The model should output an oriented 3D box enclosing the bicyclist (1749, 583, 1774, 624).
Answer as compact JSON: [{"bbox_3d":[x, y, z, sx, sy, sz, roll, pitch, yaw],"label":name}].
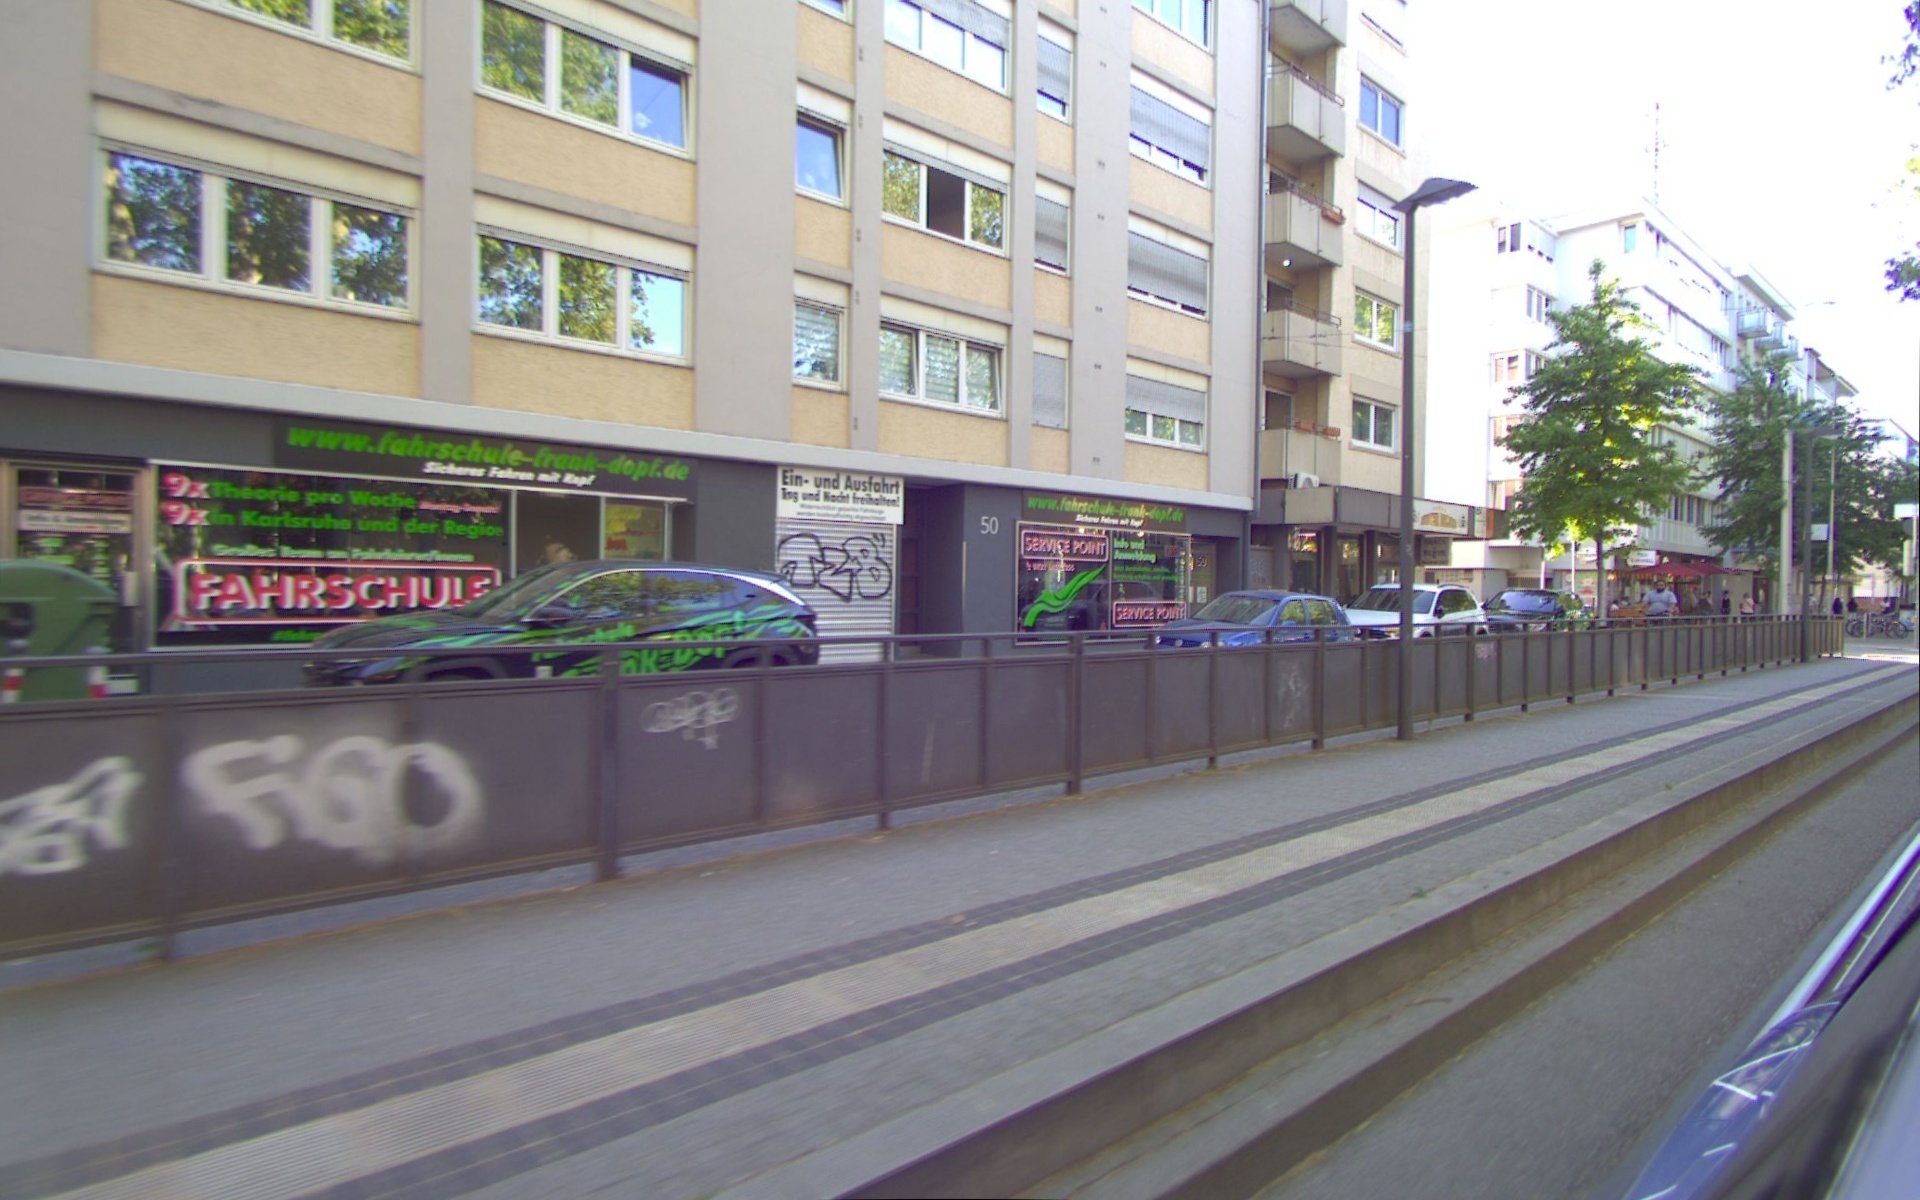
[{"bbox_3d":[34.568,0.139,43.647,0.948,1.739,0.678,0,0,-39],"label":"bicyclist"}]

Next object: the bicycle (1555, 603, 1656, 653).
[{"bbox_3d":[16.710,0.702,26.261,0.668,1.202,2.134,0,1,-32],"label":"bicycle"}]

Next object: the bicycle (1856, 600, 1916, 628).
[{"bbox_3d":[37.726,0.564,41.256,1.814,1.114,0.474,0,1,42],"label":"bicycle"}]

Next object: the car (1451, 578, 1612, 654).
[{"bbox_3d":[13.617,0.303,24.006,4.367,1.636,1.997,-1,1,-41],"label":"car"}]

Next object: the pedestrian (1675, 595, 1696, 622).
[{"bbox_3d":[31.644,0.361,44.153,0.513,1.190,0.659,0,0,-42],"label":"pedestrian"}]

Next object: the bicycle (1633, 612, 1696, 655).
[{"bbox_3d":[16.787,0.778,24.096,1.905,0.949,0.790,-1,1,-41],"label":"bicycle"}]

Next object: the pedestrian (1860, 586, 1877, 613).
[{"bbox_3d":[57.010,-0.028,63.523,0.855,1.657,0.643,0,3,-43],"label":"pedestrian"}]

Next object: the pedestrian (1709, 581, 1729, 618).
[{"bbox_3d":[37.985,-0.040,50.641,0.620,1.828,0.526,0,0,2],"label":"pedestrian"}]

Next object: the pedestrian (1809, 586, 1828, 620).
[{"bbox_3d":[46.568,0.143,54.902,0.587,1.806,0.985,0,0,29],"label":"pedestrian"}]

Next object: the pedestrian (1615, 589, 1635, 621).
[{"bbox_3d":[27.960,0.207,42.564,0.703,1.303,0.536,0,0,-40],"label":"pedestrian"}]

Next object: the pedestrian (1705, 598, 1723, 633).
[{"bbox_3d":[36.528,0.755,49.027,0.500,1.649,0.516,0,0,12],"label":"pedestrian"}]

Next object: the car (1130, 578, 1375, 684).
[{"bbox_3d":[4.714,0.395,16.017,4.173,1.458,1.747,-1,1,-41],"label":"car"}]

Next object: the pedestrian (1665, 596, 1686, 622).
[{"bbox_3d":[30.199,0.373,42.731,0.513,1.092,0.642,0,0,-42],"label":"pedestrian"}]

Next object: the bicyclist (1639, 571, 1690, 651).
[{"bbox_3d":[16.772,0.240,24.084,1.080,1.854,0.768,0,0,-41],"label":"bicyclist"}]

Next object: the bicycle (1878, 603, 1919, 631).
[{"bbox_3d":[38.864,0.695,41.465,0.516,1.114,1.818,0,2,-41],"label":"bicycle"}]

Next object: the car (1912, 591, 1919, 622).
[{"bbox_3d":[51.530,0.372,53.140,4.254,1.606,1.763,-1,5,-42],"label":"car"}]

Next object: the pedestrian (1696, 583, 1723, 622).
[{"bbox_3d":[33.132,0.100,44.738,0.666,1.680,0.814,0,0,-37],"label":"pedestrian"}]

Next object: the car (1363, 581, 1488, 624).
[{"bbox_3d":[18.980,0.059,41.424,1.933,1.612,4.255,-2,2,-41],"label":"car"}]

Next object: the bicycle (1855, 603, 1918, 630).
[{"bbox_3d":[36.802,0.642,40.222,0.473,1.006,1.817,0,1,-43],"label":"bicycle"}]

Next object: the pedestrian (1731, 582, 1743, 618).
[{"bbox_3d":[39.134,0.002,50.971,0.481,1.818,0.432,0,0,-42],"label":"pedestrian"}]

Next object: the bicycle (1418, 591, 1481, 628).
[{"bbox_3d":[16.982,0.331,35.118,0.502,1.223,1.915,2,-1,-44],"label":"bicycle"}]

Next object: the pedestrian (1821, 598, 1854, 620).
[{"bbox_3d":[42.203,0.428,48.694,0.647,1.040,1.004,0,0,-15],"label":"pedestrian"}]

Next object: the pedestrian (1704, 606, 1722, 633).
[{"bbox_3d":[36.541,0.925,49.117,0.501,1.292,0.624,0,0,12],"label":"pedestrian"}]

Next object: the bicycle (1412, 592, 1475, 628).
[{"bbox_3d":[16.556,0.328,34.689,0.502,1.223,1.915,0,0,-44],"label":"bicycle"}]

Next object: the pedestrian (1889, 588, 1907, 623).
[{"bbox_3d":[51.680,0.294,55.764,0.650,1.875,0.540,0,0,-30],"label":"pedestrian"}]

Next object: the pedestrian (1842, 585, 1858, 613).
[{"bbox_3d":[56.411,-0.085,64.127,0.919,1.698,0.597,0,3,-43],"label":"pedestrian"}]

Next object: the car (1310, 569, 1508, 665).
[{"bbox_3d":[8.652,0.262,19.341,4.338,1.626,1.803,-1,1,-41],"label":"car"}]

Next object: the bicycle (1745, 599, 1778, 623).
[{"bbox_3d":[34.561,0.464,43.627,1.986,0.975,0.678,-1,1,-39],"label":"bicycle"}]

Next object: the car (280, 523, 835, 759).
[{"bbox_3d":[-3.444,0.250,9.150,4.321,1.636,1.860,-1,1,-41],"label":"car"}]

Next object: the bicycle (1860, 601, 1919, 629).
[{"bbox_3d":[37.438,0.590,40.742,1.814,1.114,0.490,0,1,42],"label":"bicycle"}]
